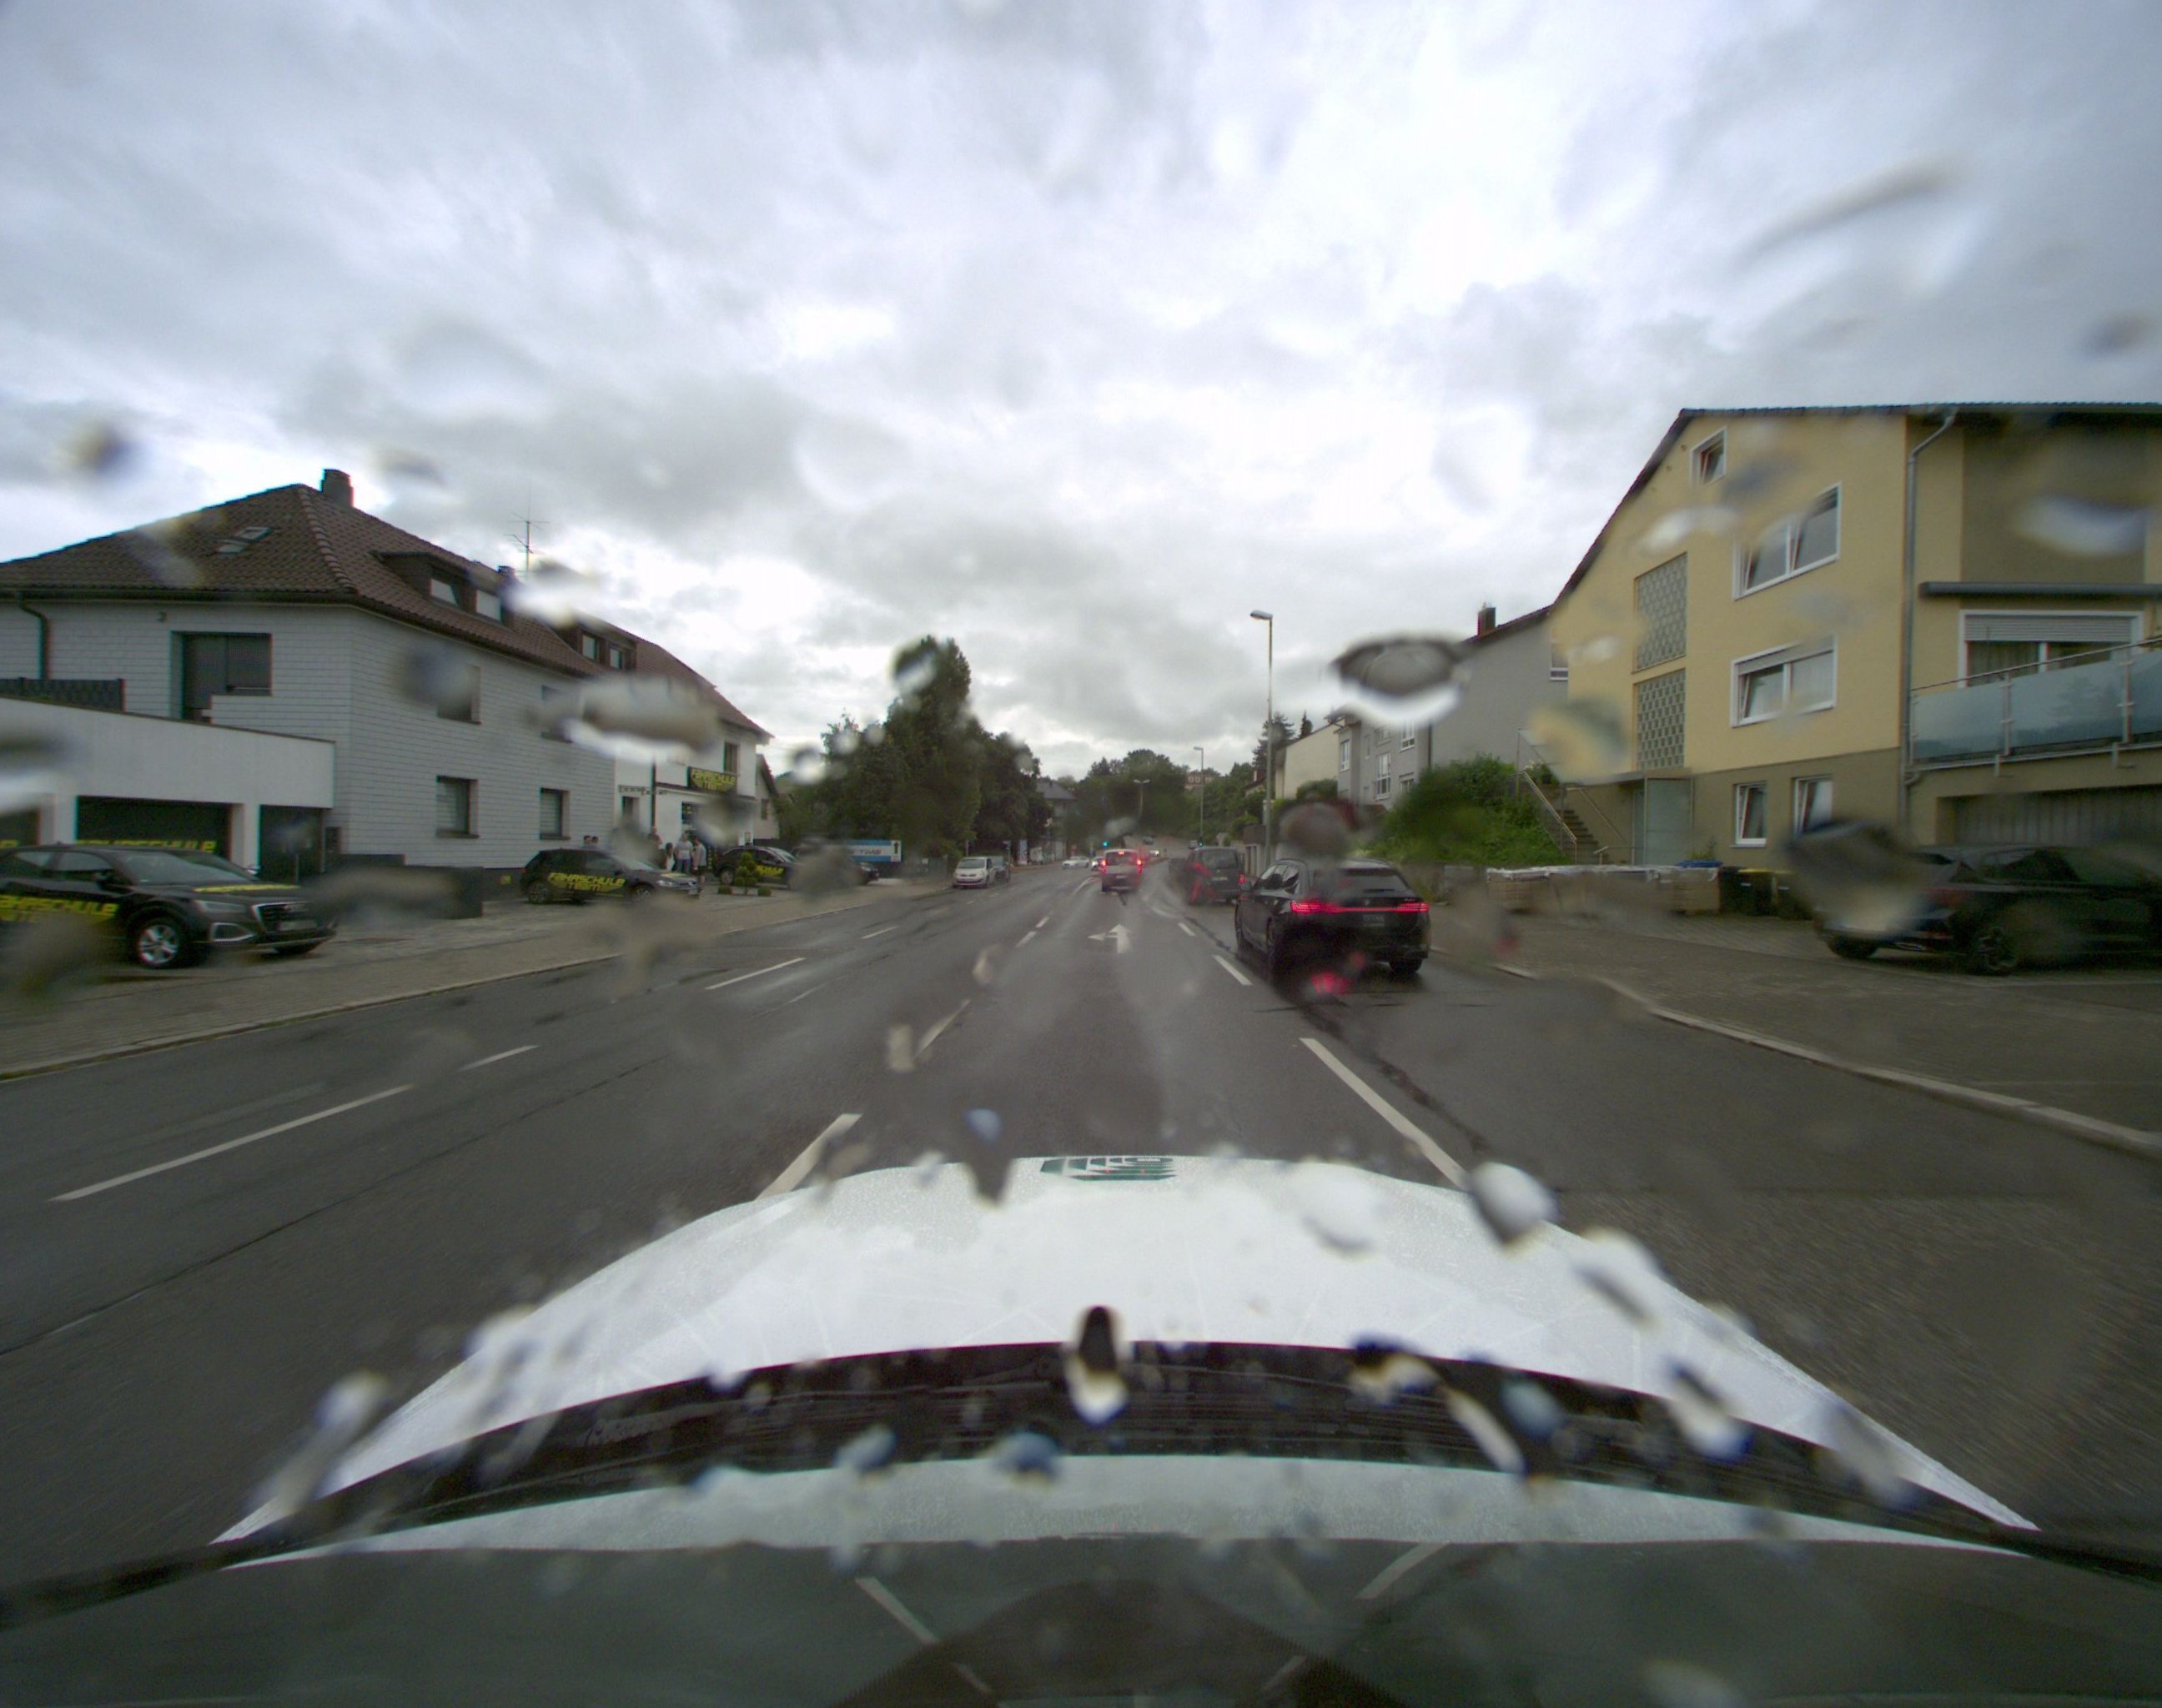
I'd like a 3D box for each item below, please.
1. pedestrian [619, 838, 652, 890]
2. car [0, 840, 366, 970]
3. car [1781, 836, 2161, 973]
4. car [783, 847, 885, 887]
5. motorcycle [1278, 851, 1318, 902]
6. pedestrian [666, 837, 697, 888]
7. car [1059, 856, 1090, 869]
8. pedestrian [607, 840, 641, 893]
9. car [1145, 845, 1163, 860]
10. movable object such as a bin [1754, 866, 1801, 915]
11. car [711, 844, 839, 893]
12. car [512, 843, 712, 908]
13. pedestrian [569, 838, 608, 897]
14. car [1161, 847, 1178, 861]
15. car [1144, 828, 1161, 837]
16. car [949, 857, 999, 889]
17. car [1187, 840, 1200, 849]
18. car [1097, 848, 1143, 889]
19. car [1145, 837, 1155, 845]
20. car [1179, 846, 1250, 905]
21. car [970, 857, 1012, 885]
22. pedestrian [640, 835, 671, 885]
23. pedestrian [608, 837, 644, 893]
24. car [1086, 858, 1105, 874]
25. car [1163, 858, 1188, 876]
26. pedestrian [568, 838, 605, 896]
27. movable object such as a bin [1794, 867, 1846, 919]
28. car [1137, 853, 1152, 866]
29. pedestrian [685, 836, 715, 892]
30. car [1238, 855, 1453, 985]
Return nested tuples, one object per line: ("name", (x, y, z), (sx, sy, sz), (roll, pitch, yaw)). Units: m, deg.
("pedestrian", (-14.724, 0.338, 26.922), (0.597, 1.665, 0.651), (3, 0, 7))
("car", (-12.431, 0.622, 10.947), (3.972, 1.516, 1.856), (1, -1, 1))
("car", (11.122, 0.536, 9.703), (3.974, 1.433, 1.869), (-1, -1, 0))
("car", (-11.473, 0.590, 38.076), (4.057, 1.516, 1.856), (4, 0, 1))
("motorcycle", (6.820, 0.695, 25.725), (0.700, 1.509, 2.151), (-2, -1, 2))
("pedestrian", (-13.564, 0.279, 27.671), (0.597, 1.665, 0.652), (3, 0, 10))
("car", (-0.758, 1.056, 97.923), (1.975, 1.547, 4.421), (0, -1, 26))
("pedestrian", (-14.632, 0.400, 26.075), (0.597, 1.665, 0.651), (3, 0, 7))
("car", (11.863, -0.248, 133.183), (2.513, 2.013, 5.610), (1, 3, 0))
("movable object such as a bin", (13.947, 0.722, 16.323), (0.488, 0.948, 0.542), (0, -1, 1))
("car", (-11.645, 0.539, 31.141), (4.057, 1.516, 1.856), (4, 0, 1))
("car", (-12.070, 0.537, 21.143), (4.057, 1.516, 1.856), (1, -1, 1))
("pedestrian", (-14.184, 0.381, 23.469), (0.597, 1.665, 0.651), (3, 0, 7))
("car", (13.805, -0.028, 126.911), (2.509, 2.013, 5.618), (1, 3, 5))
("car", (16.864, -5.026, 192.680), (2.523, 2.013, 5.588), (0, 3, -11))
("car", (-5.496, 0.951, 42.215), (1.877, 1.585, 4.002), (0, -1, 2))
("car", (21.241, -1.714, 153.984), (1.986, 1.585, 4.002), (0, -1, 2))
("car", (1.760, 0.631, 36.952), (1.985, 1.737, 4.002), (0, -1, 2))
("car", (14.513, -2.648, 170.996), (1.986, 1.585, 4.002), (0, -1, 2))
("car", (4.267, 0.656, 26.613), (1.831, 1.767, 4.002), (0, -1, 2))
("car", (-5.348, 1.004, 48.819), (1.877, 1.585, 4.002), (0, -1, 2))
("pedestrian", (-14.548, 0.195, 27.866), (0.597, 1.665, 0.651), (3, 0, 7))
("pedestrian", (-13.863, 0.340, 24.835), (0.597, 1.665, 0.651), (3, 0, 7))
("car", (1.640, 1.304, 89.370), (1.986, 1.772, 4.002), (0, -1, 2))
("car", (8.740, 1.166, 75.532), (1.986, 1.578, 4.002), (-1, 0, 2))
("pedestrian", (-14.742, 0.385, 24.281), (0.597, 1.665, 0.651), (3, 0, 7))
("movable object such as a bin", (13.904, 0.726, 15.322), (0.488, 0.948, 0.542), (0, -1, 1))
("car", (9.263, 0.782, 119.176), (1.986, 1.772, 4.002), (-1, 0, 2))
("pedestrian", (-12.629, 0.334, 27.022), (0.599, 1.791, 0.649), (3, 0, -3))
("car", (3.447, 0.775, 11.447), (1.984, 1.484, 4.004), (0, 0, 4))
